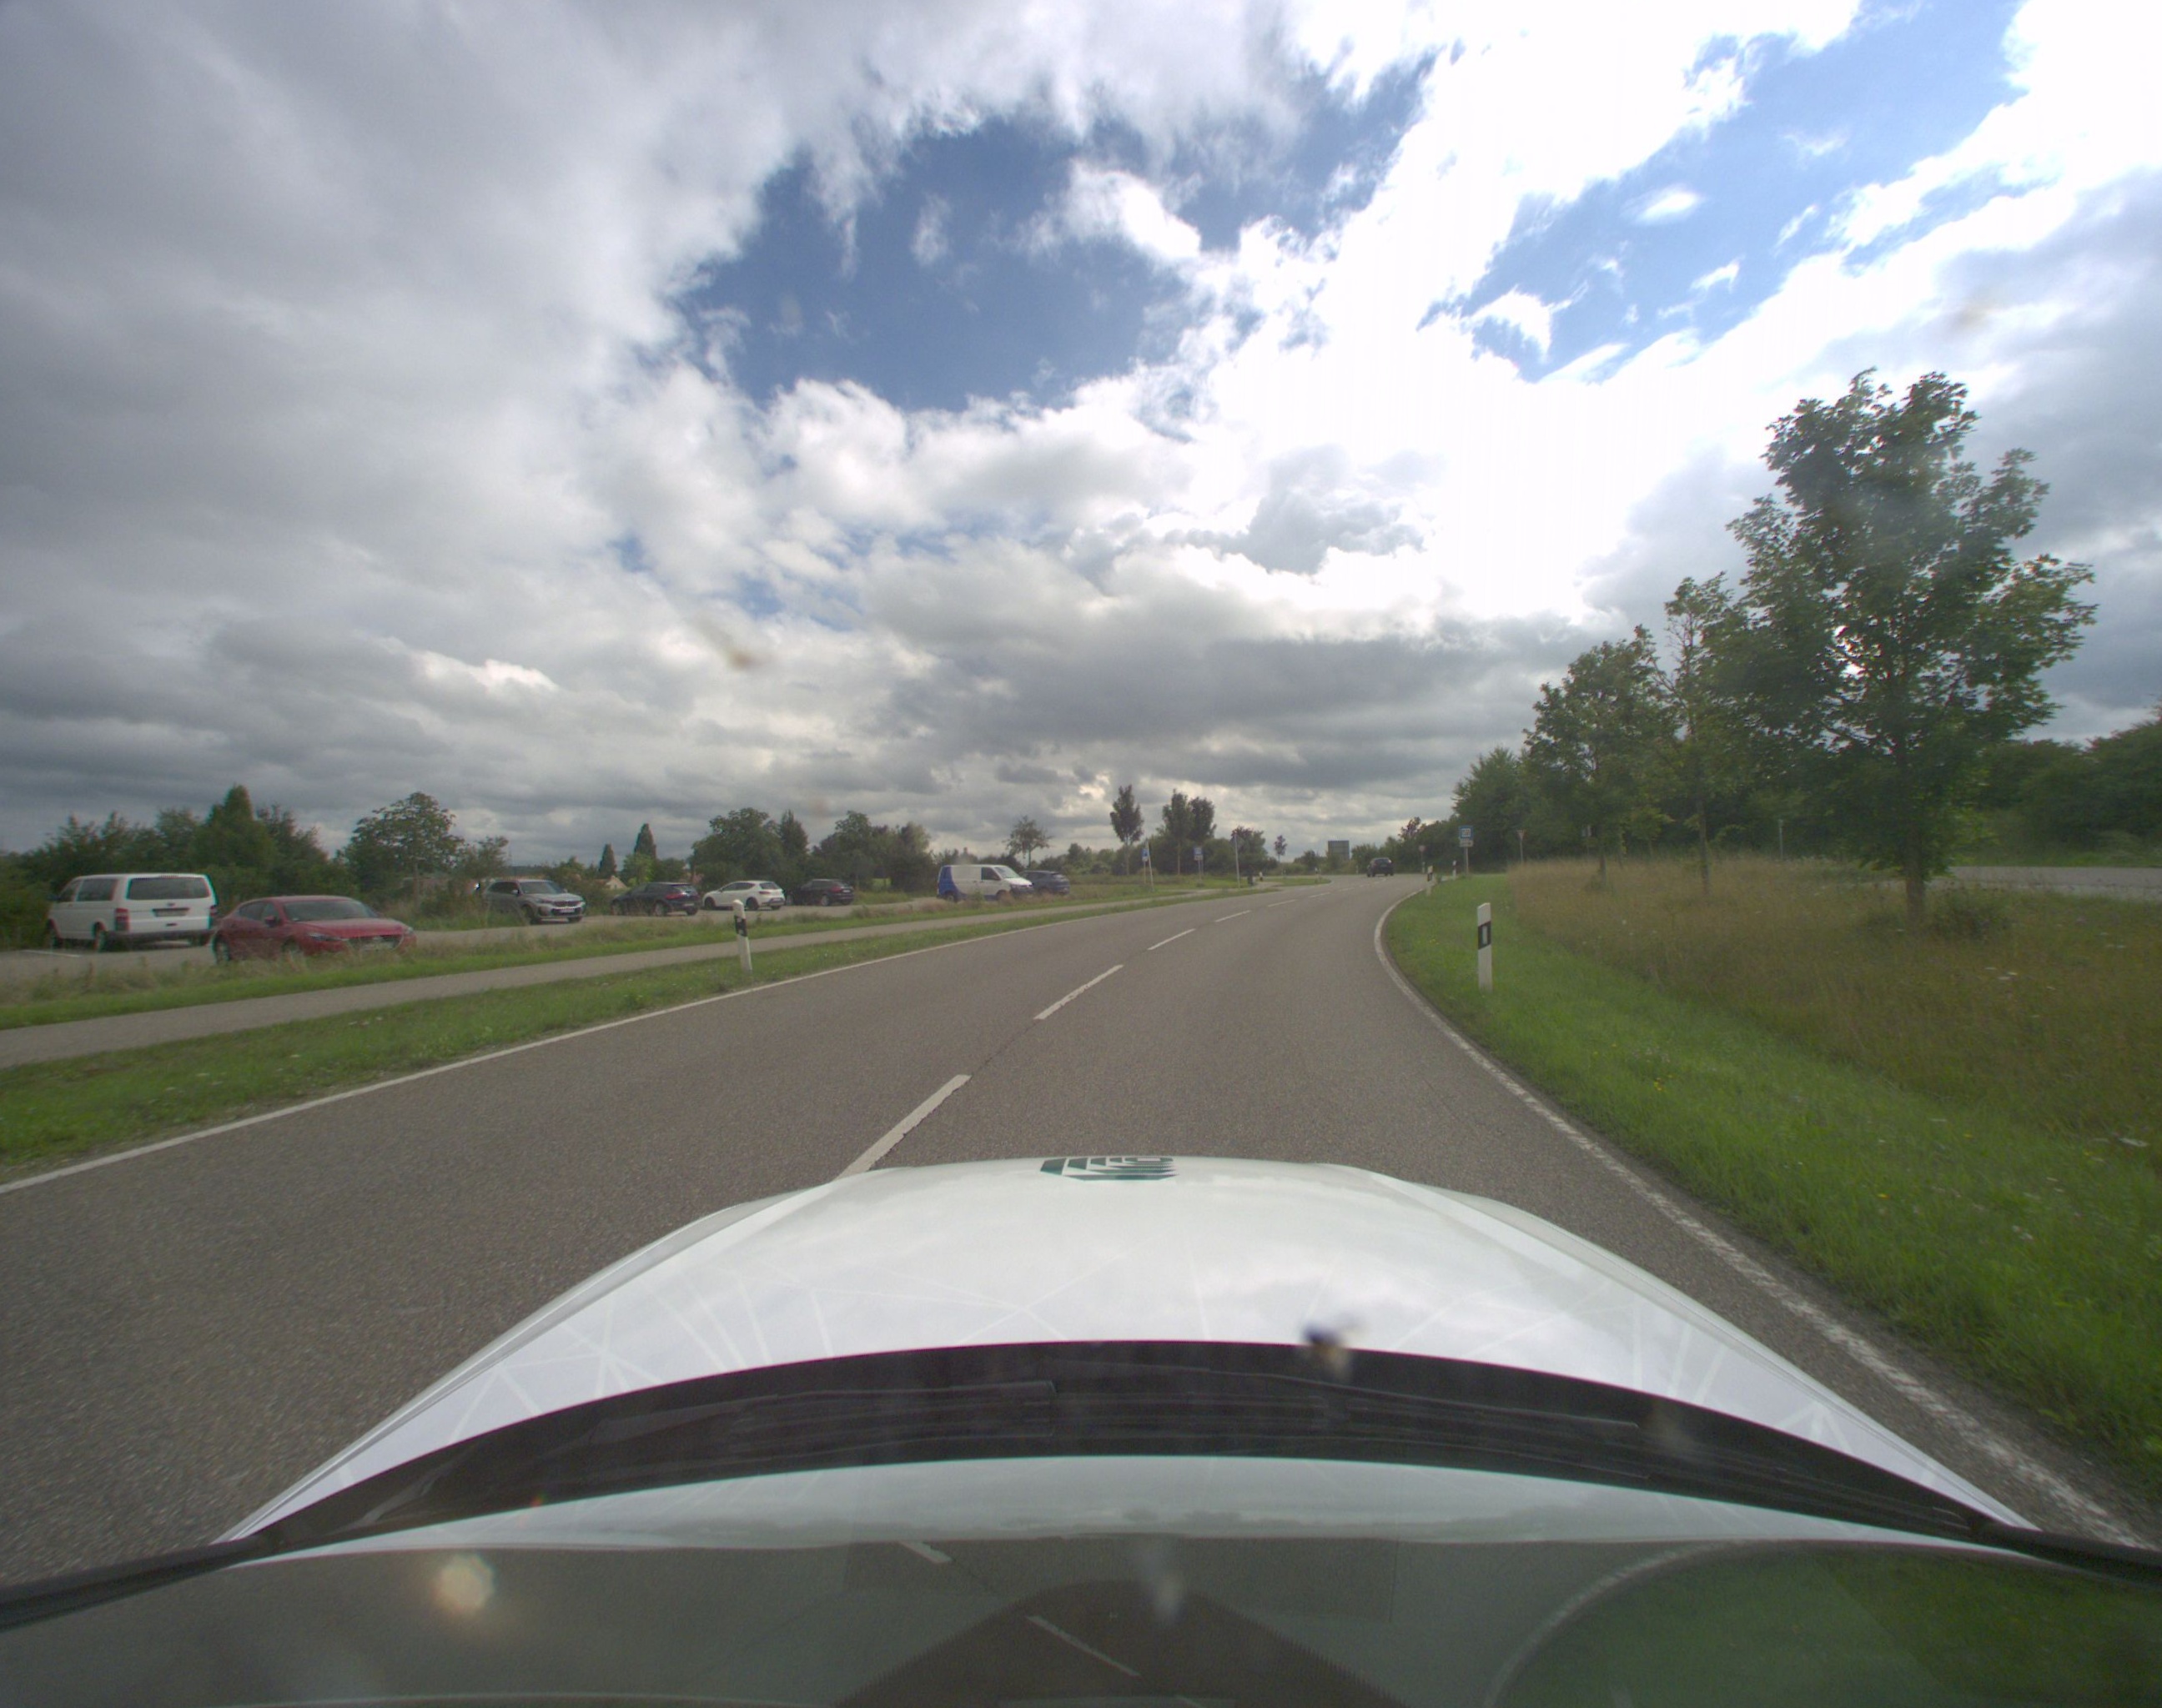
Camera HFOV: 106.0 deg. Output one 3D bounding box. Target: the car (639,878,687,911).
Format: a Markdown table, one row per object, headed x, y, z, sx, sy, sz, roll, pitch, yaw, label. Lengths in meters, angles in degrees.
| x | y | z | sx | sy | sz | roll | pitch | yaw | label |
| --- | --- | --- | --- | --- | --- | --- | --- | --- | --- |
| -21.174 | 2.025 | 41.232 | 1.783 | 1.526 | 3.754 | -1 | -2 | -33 | car |

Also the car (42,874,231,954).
| x | y | z | sx | sy | sz | roll | pitch | yaw | label |
| --- | --- | --- | --- | --- | --- | --- | --- | --- | --- |
| -25.343 | 1.529 | 21.857 | 4.639 | 1.926 | 2.073 | -1 | -1 | 24 | car |

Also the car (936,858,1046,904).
| x | y | z | sx | sy | sz | roll | pitch | yaw | label |
| --- | --- | --- | --- | --- | --- | --- | --- | --- | --- |
| -4.346 | 1.305 | 39.338 | 4.849 | 2.014 | 2.068 | -3 | -2 | 25 | car |

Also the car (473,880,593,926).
| x | y | z | sx | sy | sz | roll | pitch | yaw | label |
| --- | --- | --- | --- | --- | --- | --- | --- | --- | --- |
| -20.383 | 1.800 | 30.293 | 3.950 | 1.552 | 1.977 | -2 | -1 | 26 | car |

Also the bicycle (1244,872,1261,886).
| x | y | z | sx | sy | sz | roll | pitch | yaw | label |
| --- | --- | --- | --- | --- | --- | --- | --- | --- | --- |
| 13.046 | 1.887 | 61.757 | 0.629 | 1.032 | 2.204 | -3 | -2 | 28 | bicycle |

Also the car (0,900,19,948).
| x | y | z | sx | sy | sz | roll | pitch | yaw | label |
| --- | --- | --- | --- | --- | --- | --- | --- | --- | --- |
| -39.015 | 2.477 | 27.082 | 1.974 | 1.623 | 4.479 | -3 | -2 | 36 | car |

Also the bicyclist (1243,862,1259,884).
| x | y | z | sx | sy | sz | roll | pitch | yaw | label |
| --- | --- | --- | --- | --- | --- | --- | --- | --- | --- |
| 12.839 | 1.439 | 61.642 | 0.823 | 1.566 | 1.062 | -3 | -2 | 30 | bicyclist |

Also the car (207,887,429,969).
| x | y | z | sx | sy | sz | roll | pitch | yaw | label |
| --- | --- | --- | --- | --- | --- | --- | --- | --- | --- |
| -15.454 | 1.458 | 16.482 | 4.324 | 1.417 | 1.824 | -3 | -2 | 26 | car |

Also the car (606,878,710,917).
| x | y | z | sx | sy | sz | roll | pitch | yaw | label |
| --- | --- | --- | --- | --- | --- | --- | --- | --- | --- |
| -18.252 | 1.846 | 35.157 | 3.950 | 1.552 | 1.977 | -1 | -1 | 26 | car |

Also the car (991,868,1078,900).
| x | y | z | sx | sy | sz | roll | pitch | yaw | label |
| --- | --- | --- | --- | --- | --- | --- | --- | --- | --- |
| -2.501 | 1.615 | 43.869 | 4.208 | 1.595 | 2.012 | -3 | -1 | 26 | car |

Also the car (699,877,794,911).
| x | y | z | sx | sy | sz | roll | pitch | yaw | label |
| --- | --- | --- | --- | --- | --- | --- | --- | --- | --- |
| -16.300 | 1.921 | 39.726 | 3.954 | 1.552 | 1.975 | -1 | -1 | 19 | car |

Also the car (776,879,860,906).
| x | y | z | sx | sy | sz | roll | pitch | yaw | label |
| --- | --- | --- | --- | --- | --- | --- | --- | --- | --- |
| -14.227 | 2.075 | 44.076 | 3.954 | 1.387 | 1.851 | -1 | -1 | 19 | car |

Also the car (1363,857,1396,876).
| x | y | z | sx | sy | sz | roll | pitch | yaw | label |
| --- | --- | --- | --- | --- | --- | --- | --- | --- | --- |
| 27.285 | 1.144 | 74.520 | 1.896 | 1.666 | 4.007 | -1 | -1 | 7 | car |
